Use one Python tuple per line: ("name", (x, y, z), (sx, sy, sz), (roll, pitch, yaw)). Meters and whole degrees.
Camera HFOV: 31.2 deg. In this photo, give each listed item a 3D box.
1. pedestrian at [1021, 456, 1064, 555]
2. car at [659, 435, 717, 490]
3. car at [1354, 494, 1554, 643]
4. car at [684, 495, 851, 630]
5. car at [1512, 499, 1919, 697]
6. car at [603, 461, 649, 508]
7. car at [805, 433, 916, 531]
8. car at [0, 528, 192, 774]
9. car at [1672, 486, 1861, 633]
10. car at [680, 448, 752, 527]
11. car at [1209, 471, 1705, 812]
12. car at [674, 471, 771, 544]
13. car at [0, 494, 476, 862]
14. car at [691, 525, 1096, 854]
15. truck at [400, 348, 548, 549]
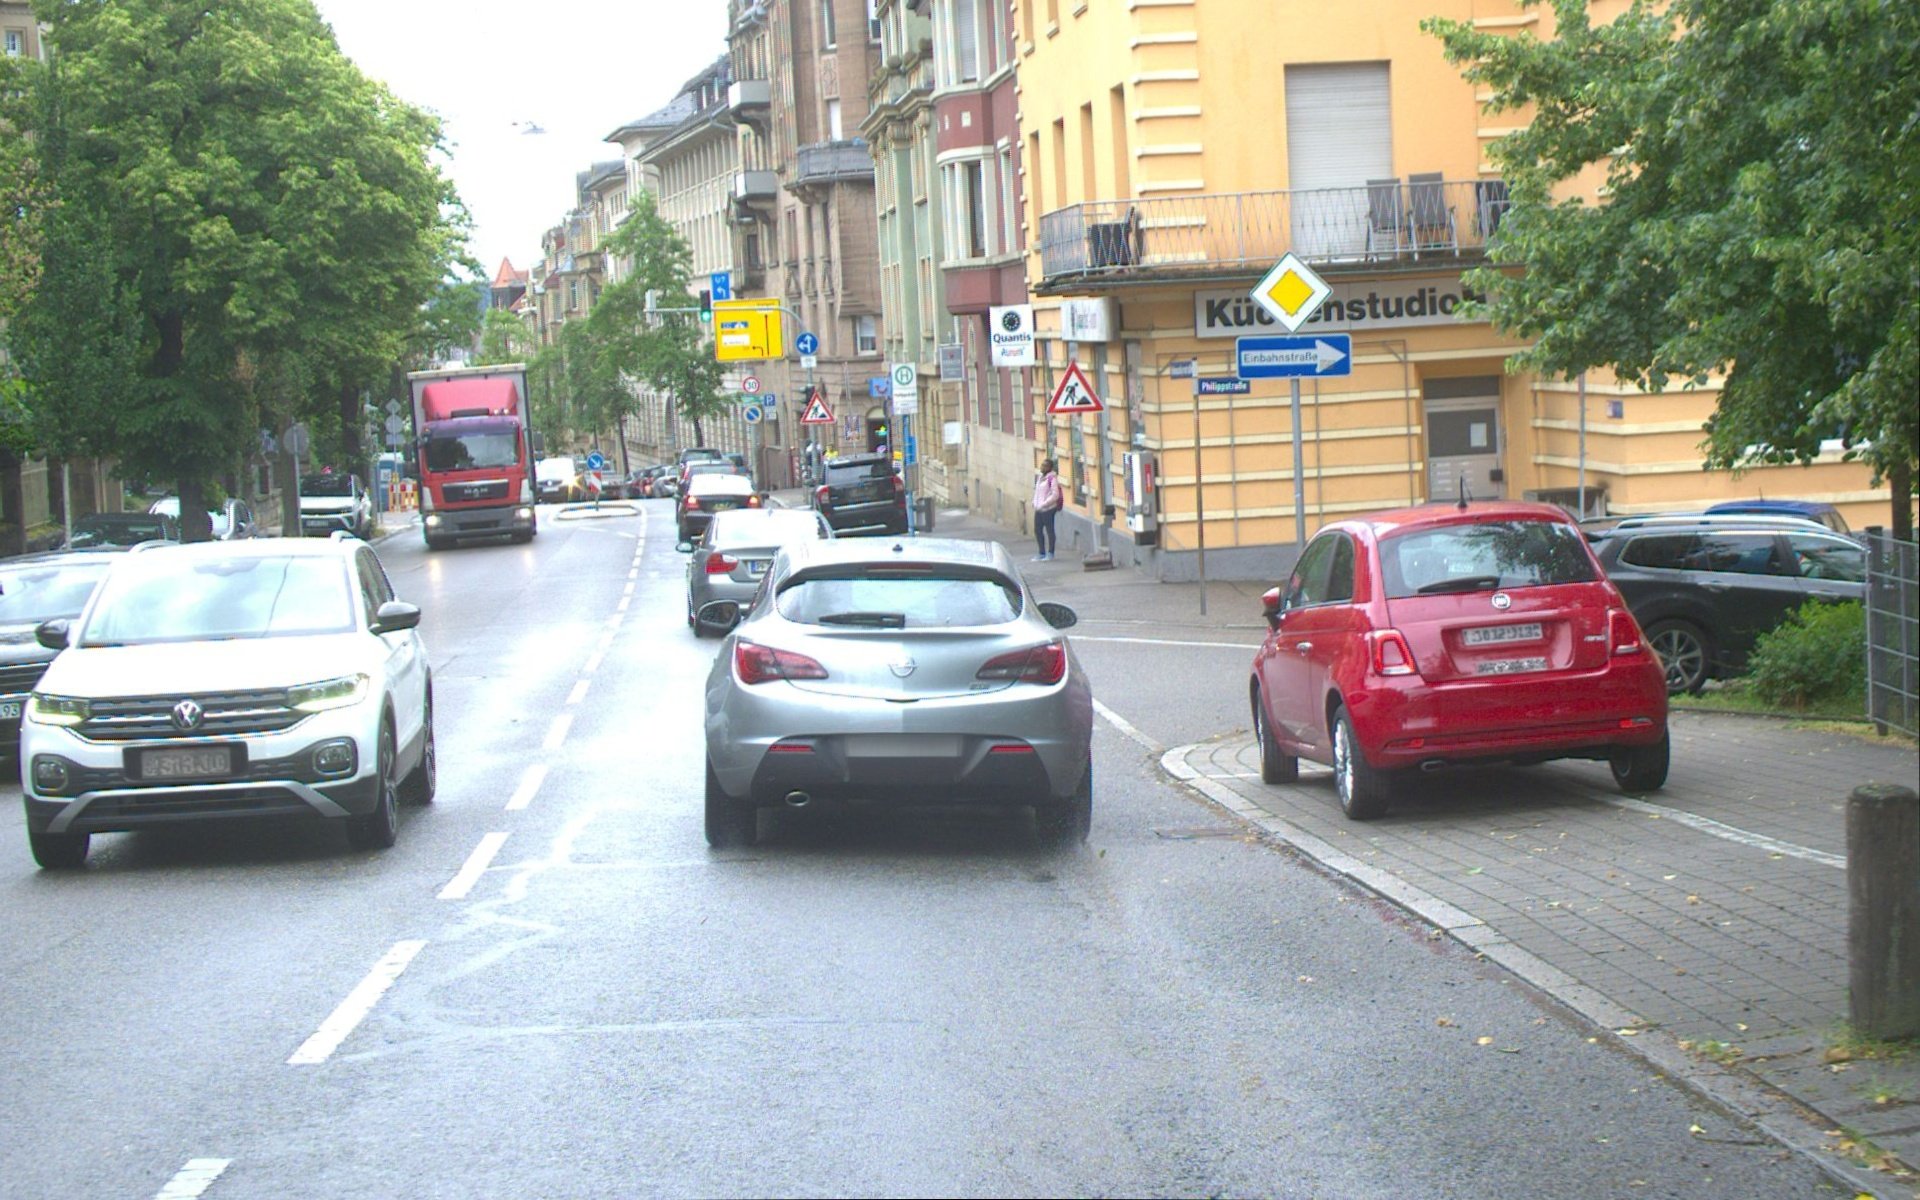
("pedestrian", (1.268, -1.449, 52.730), (0.613, 1.491, 0.553), (-1, 3, -1))
("car", (-8.108, -4.090, 102.574), (1.640, 1.531, 3.717), (-1, 1, -4))
("car", (5.153, -0.369, 35.550), (1.777, 1.425, 3.784), (1, 2, 12))
("car", (-2.141, -0.418, 38.776), (1.776, 1.425, 3.786), (1, 0, -2))
("car", (6.652, 0.014, 28.330), (3.772, 1.425, 1.782), (3, -1, -5))
("car", (-14.270, -4.917, 146.756), (1.781, 1.848, 4.001), (0, 0, -7))
("car", (-2.046, -2.356, 69.605), (1.993, 1.683, 4.001), (-6, 1, -3))
("car", (-6.728, 0.341, 24.845), (1.622, 1.645, 3.143), (-2, 1, -1))
("car", (8.693, -0.476, 36.860), (1.777, 1.425, 3.783), (1, 3, 16))
("car", (-5.822, -2.710, 81.942), (1.640, 1.683, 3.718), (-1, 5, -4))
("car", (2.521, 0.197, 18.425), (1.815, 1.462, 4.000), (-5, 0, -2))
("car", (-4.776, -1.844, 68.802), (1.767, 1.410, 3.717), (0, 1, -6))
("car", (-3.732, 0.332, 17.971), (1.823, 1.645, 4.000), (-2, 1, -1))
("car", (-0.375, 0.360, 17.498), (1.814, 1.425, 4.001), (-1, 2, -2))
("truck", (-10.764, -3.461, 76.987), (2.788, 4.118, 10.856), (-2, 3, -6))
